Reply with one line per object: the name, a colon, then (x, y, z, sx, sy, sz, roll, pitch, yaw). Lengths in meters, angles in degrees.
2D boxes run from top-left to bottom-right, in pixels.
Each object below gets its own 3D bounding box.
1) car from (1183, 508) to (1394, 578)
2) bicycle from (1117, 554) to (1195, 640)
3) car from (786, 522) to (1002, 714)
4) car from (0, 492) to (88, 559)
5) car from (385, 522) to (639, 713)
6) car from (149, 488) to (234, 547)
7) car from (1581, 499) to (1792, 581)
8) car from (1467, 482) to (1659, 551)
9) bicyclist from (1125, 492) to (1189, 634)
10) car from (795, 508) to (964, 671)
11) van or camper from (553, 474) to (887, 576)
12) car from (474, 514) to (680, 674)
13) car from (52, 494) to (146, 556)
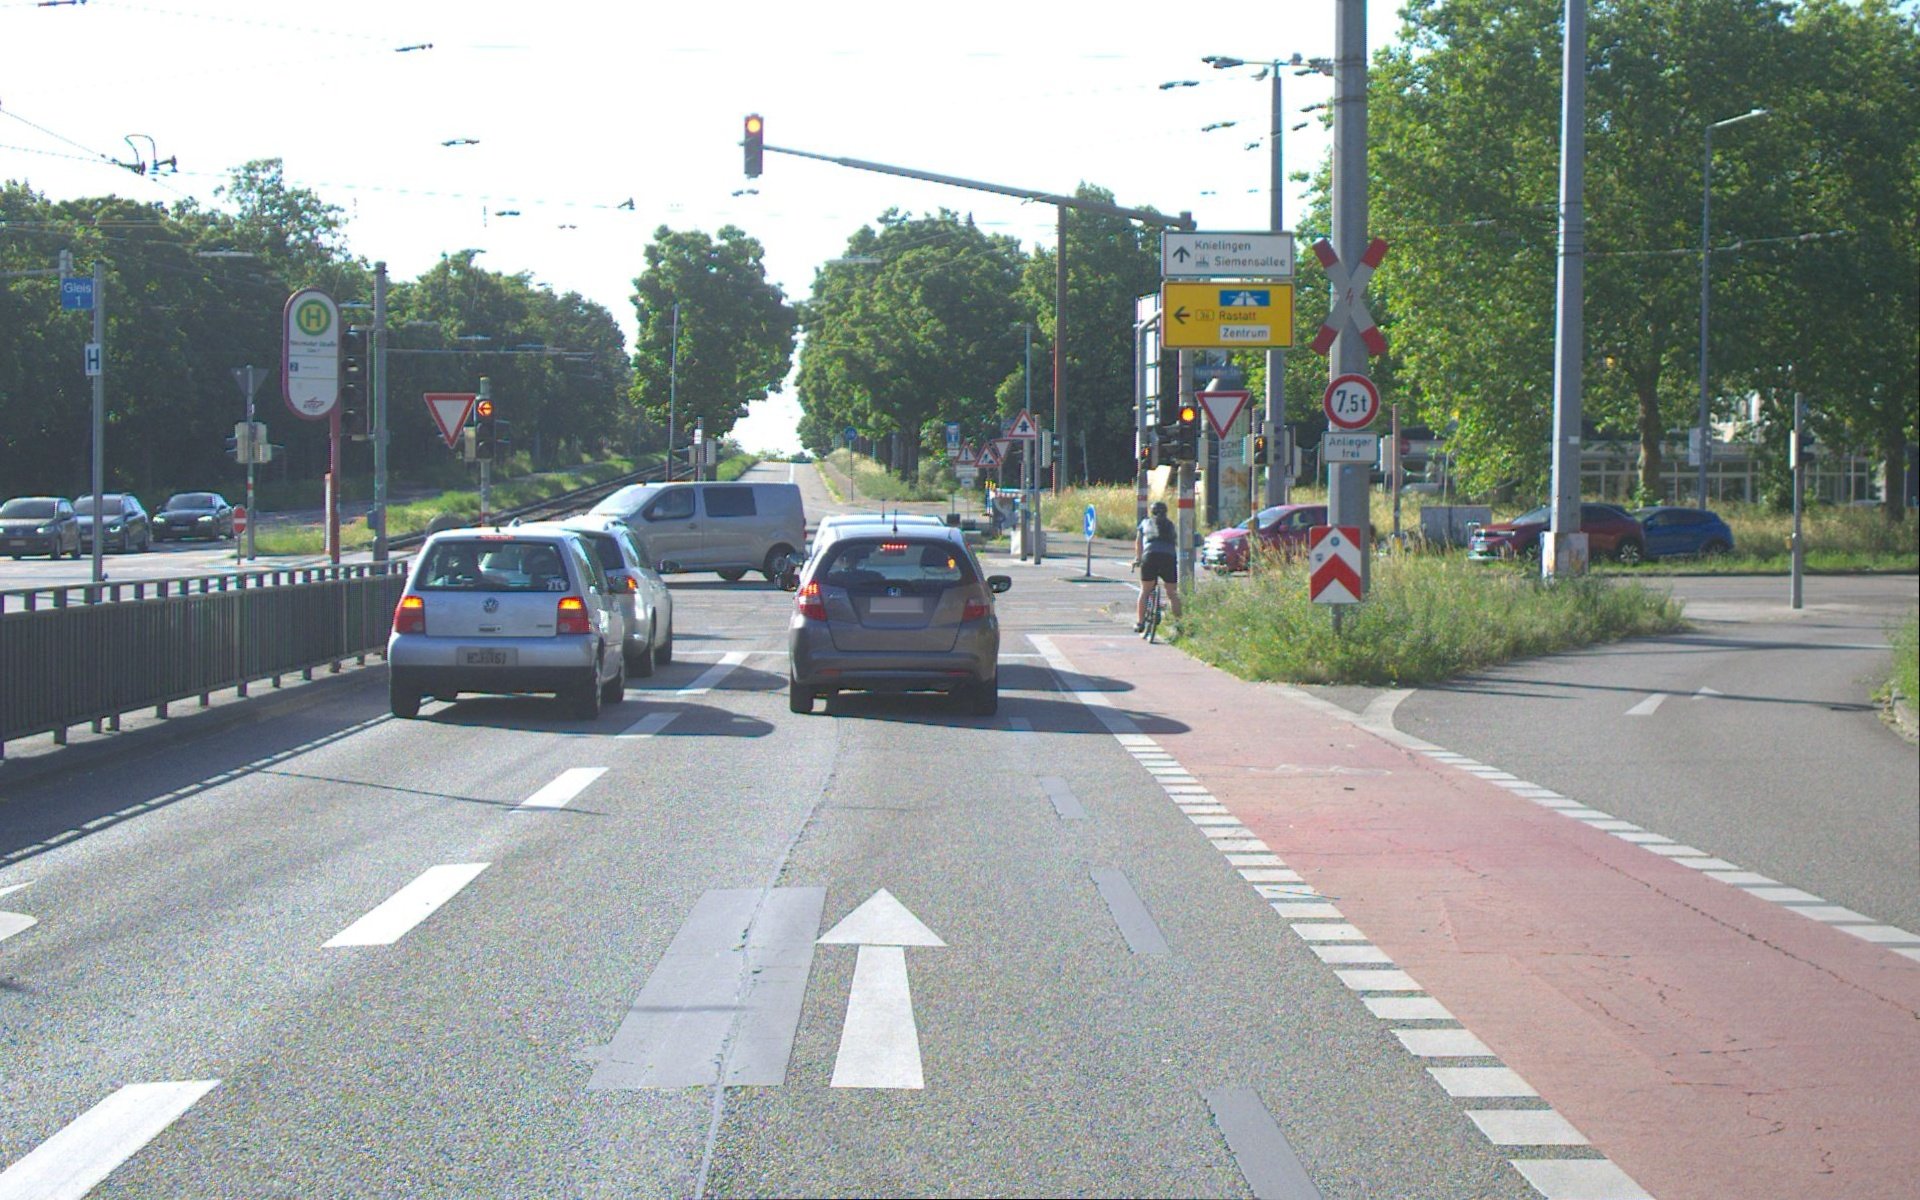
car: (6.736, -1.183, 70.610, 4.002, 1.398, 1.610, 0, 2, -18)
bicycle: (2.404, -0.055, 42.393, 0.722, 0.985, 2.876, 2, 1, -1)
car: (-0.594, 0.100, 28.522, 1.668, 1.457, 3.587, 1, 2, -3)
car: (-21.821, -1.770, 81.333, 1.832, 1.543, 4.001, 0, 1, -7)
car: (-3.497, 0.098, 27.311, 1.619, 1.413, 3.351, 0, 1, -1)
car: (-22.264, -2.412, 99.700, 1.993, 1.599, 4.757, 1, 2, -8)
car: (17.774, -1.465, 84.082, 4.686, 1.873, 2.001, 1, 1, -23)
car: (13.494, -1.882, 76.947, 3.986, 1.525, 1.606, -1, 2, -23)
bicyclist: (2.418, -0.458, 42.304, 0.666, 1.710, 0.948, 2, 1, -1)
car: (-0.811, -0.155, 35.156, 1.611, 1.557, 4.288, 0, 1, -1)
van or camper: (-4.438, -1.403, 64.091, 5.968, 1.822, 2.000, -1, 2, -32)
car: (-3.725, -0.096, 33.961, 1.619, 1.452, 4.085, 1, 1, -1)
car: (-22.100, -1.943, 88.390, 1.832, 1.543, 4.286, 0, 1, -7)
